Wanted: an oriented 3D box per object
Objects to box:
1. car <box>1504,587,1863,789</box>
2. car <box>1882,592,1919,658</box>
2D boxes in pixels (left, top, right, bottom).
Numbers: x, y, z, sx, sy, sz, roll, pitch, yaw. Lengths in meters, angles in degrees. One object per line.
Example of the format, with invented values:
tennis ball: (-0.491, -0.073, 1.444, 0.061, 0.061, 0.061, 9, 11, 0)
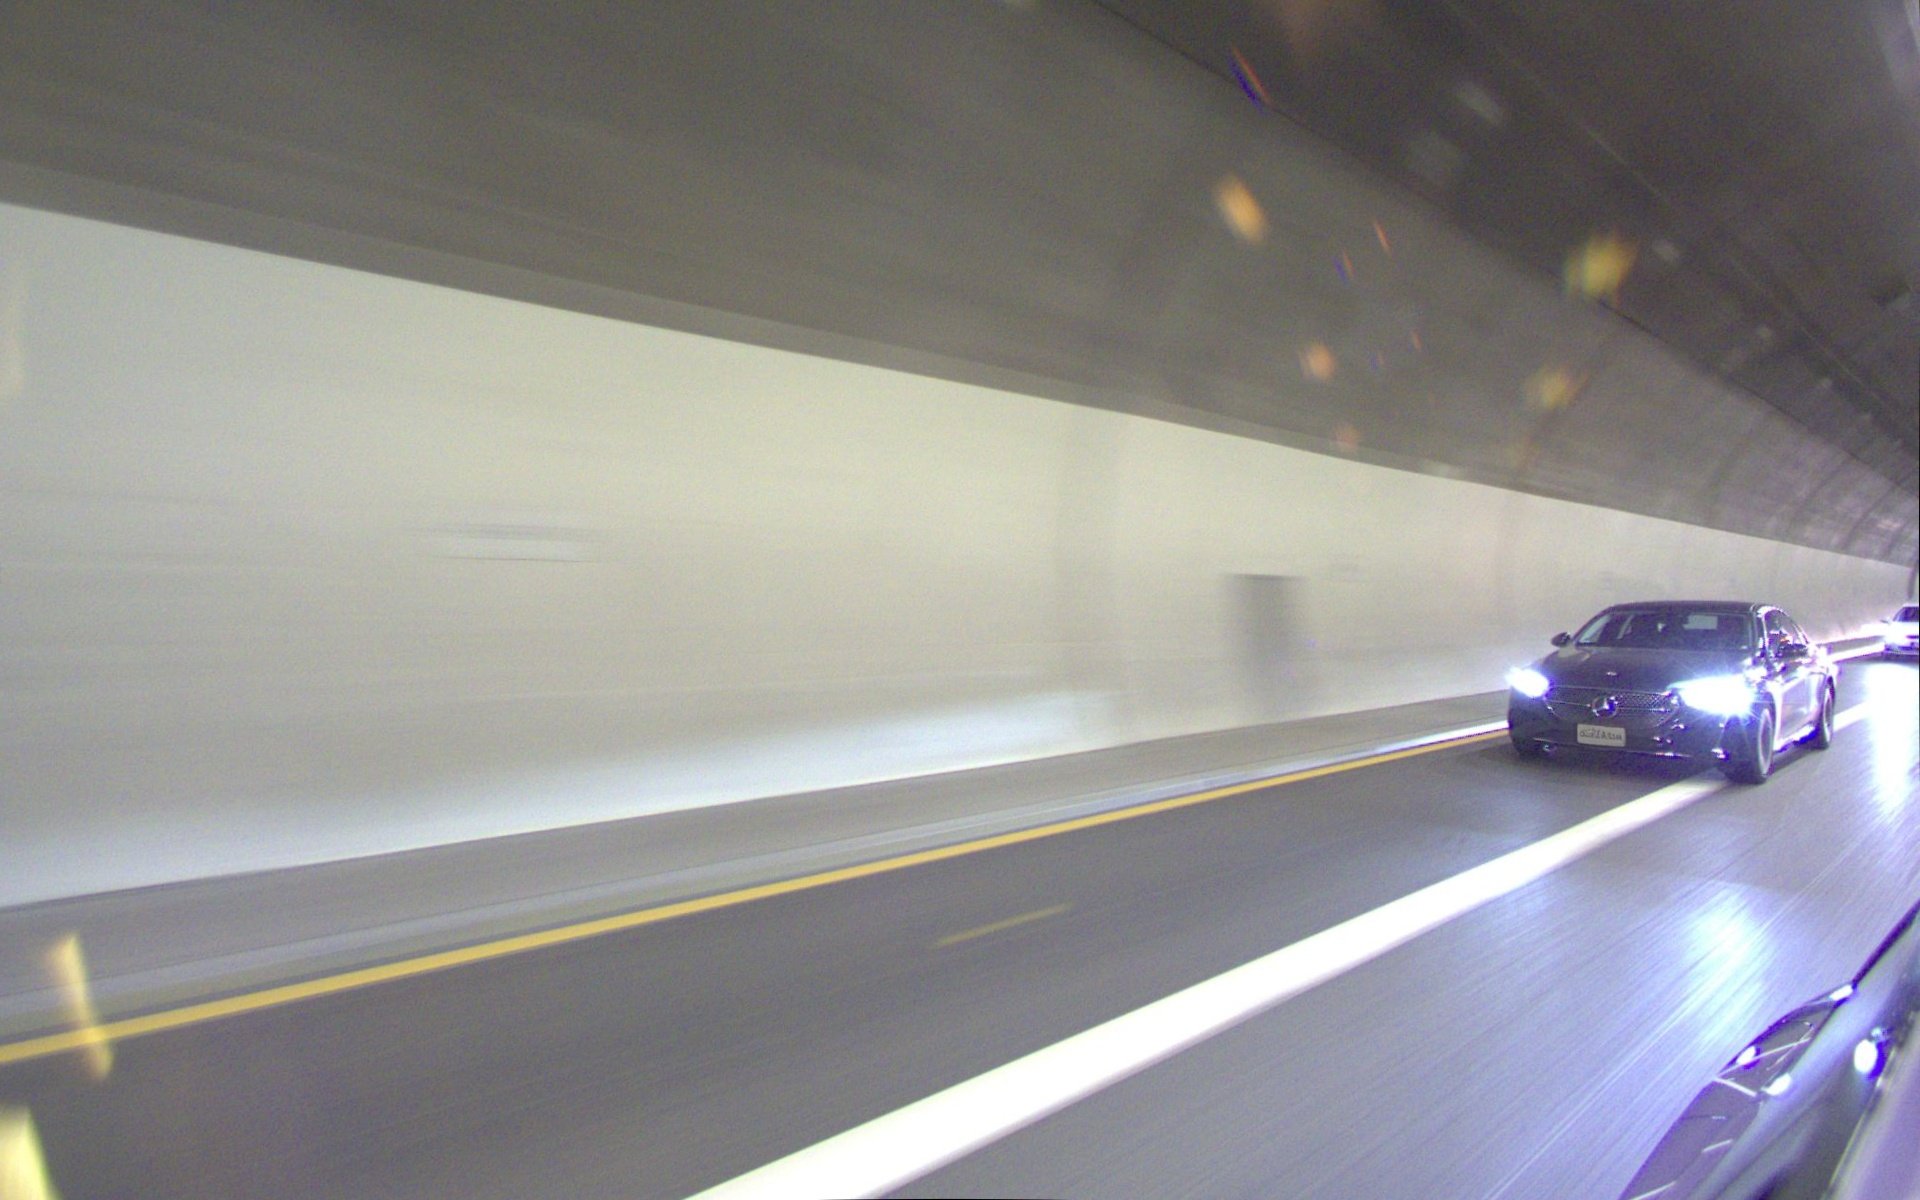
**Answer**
car: (7.052, 0.642, 9.670, 4.443, 1.496, 1.824, 0, 0, -41)
car: (24.895, 0.586, 25.449, 4.660, 1.560, 1.997, -1, 0, -41)
